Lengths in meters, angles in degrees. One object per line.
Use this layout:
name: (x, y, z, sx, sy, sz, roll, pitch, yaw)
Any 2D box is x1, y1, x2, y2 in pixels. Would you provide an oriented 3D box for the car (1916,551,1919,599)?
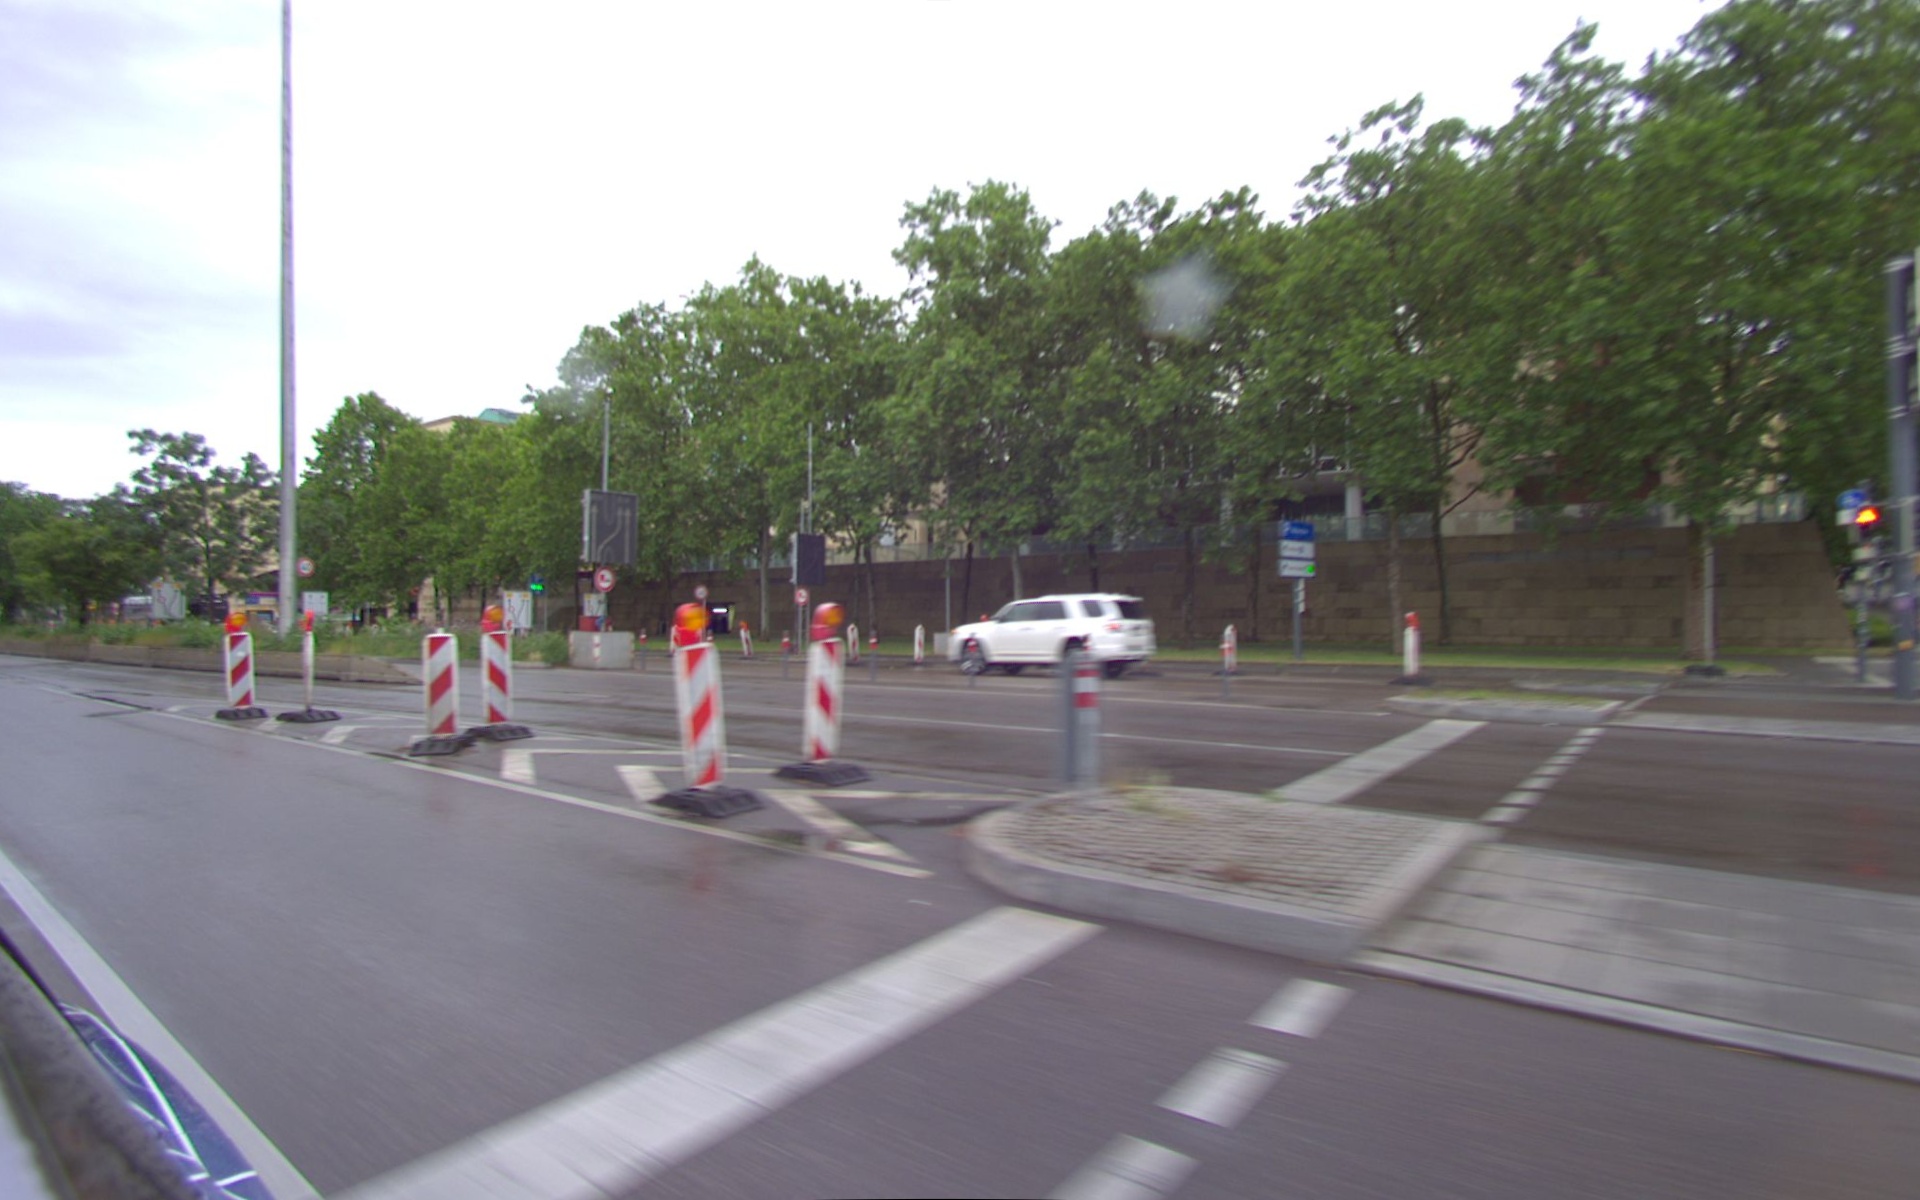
car: (46.635, -1.180, 46.378, 3.998, 2.131, 1.973, 0, -2, 41)

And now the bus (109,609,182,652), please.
bus: (-79.526, 2.932, 98.685, 14.585, 3.840, 2.776, -1, 0, 40)

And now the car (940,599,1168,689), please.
car: (2.089, 0.949, 23.163, 4.883, 1.854, 1.975, 0, -2, 36)

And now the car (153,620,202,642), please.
car: (-59.138, 2.333, 76.475, 3.995, 1.541, 1.974, 0, -2, 39)

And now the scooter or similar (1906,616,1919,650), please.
scooter or similar: (30.334, 1.055, 31.980, 1.648, 1.026, 0.437, 3, -3, -40)

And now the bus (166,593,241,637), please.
bus: (-77.339, 1.549, 103.349, 13.482, 4.284, 3.088, -1, 0, 40)
